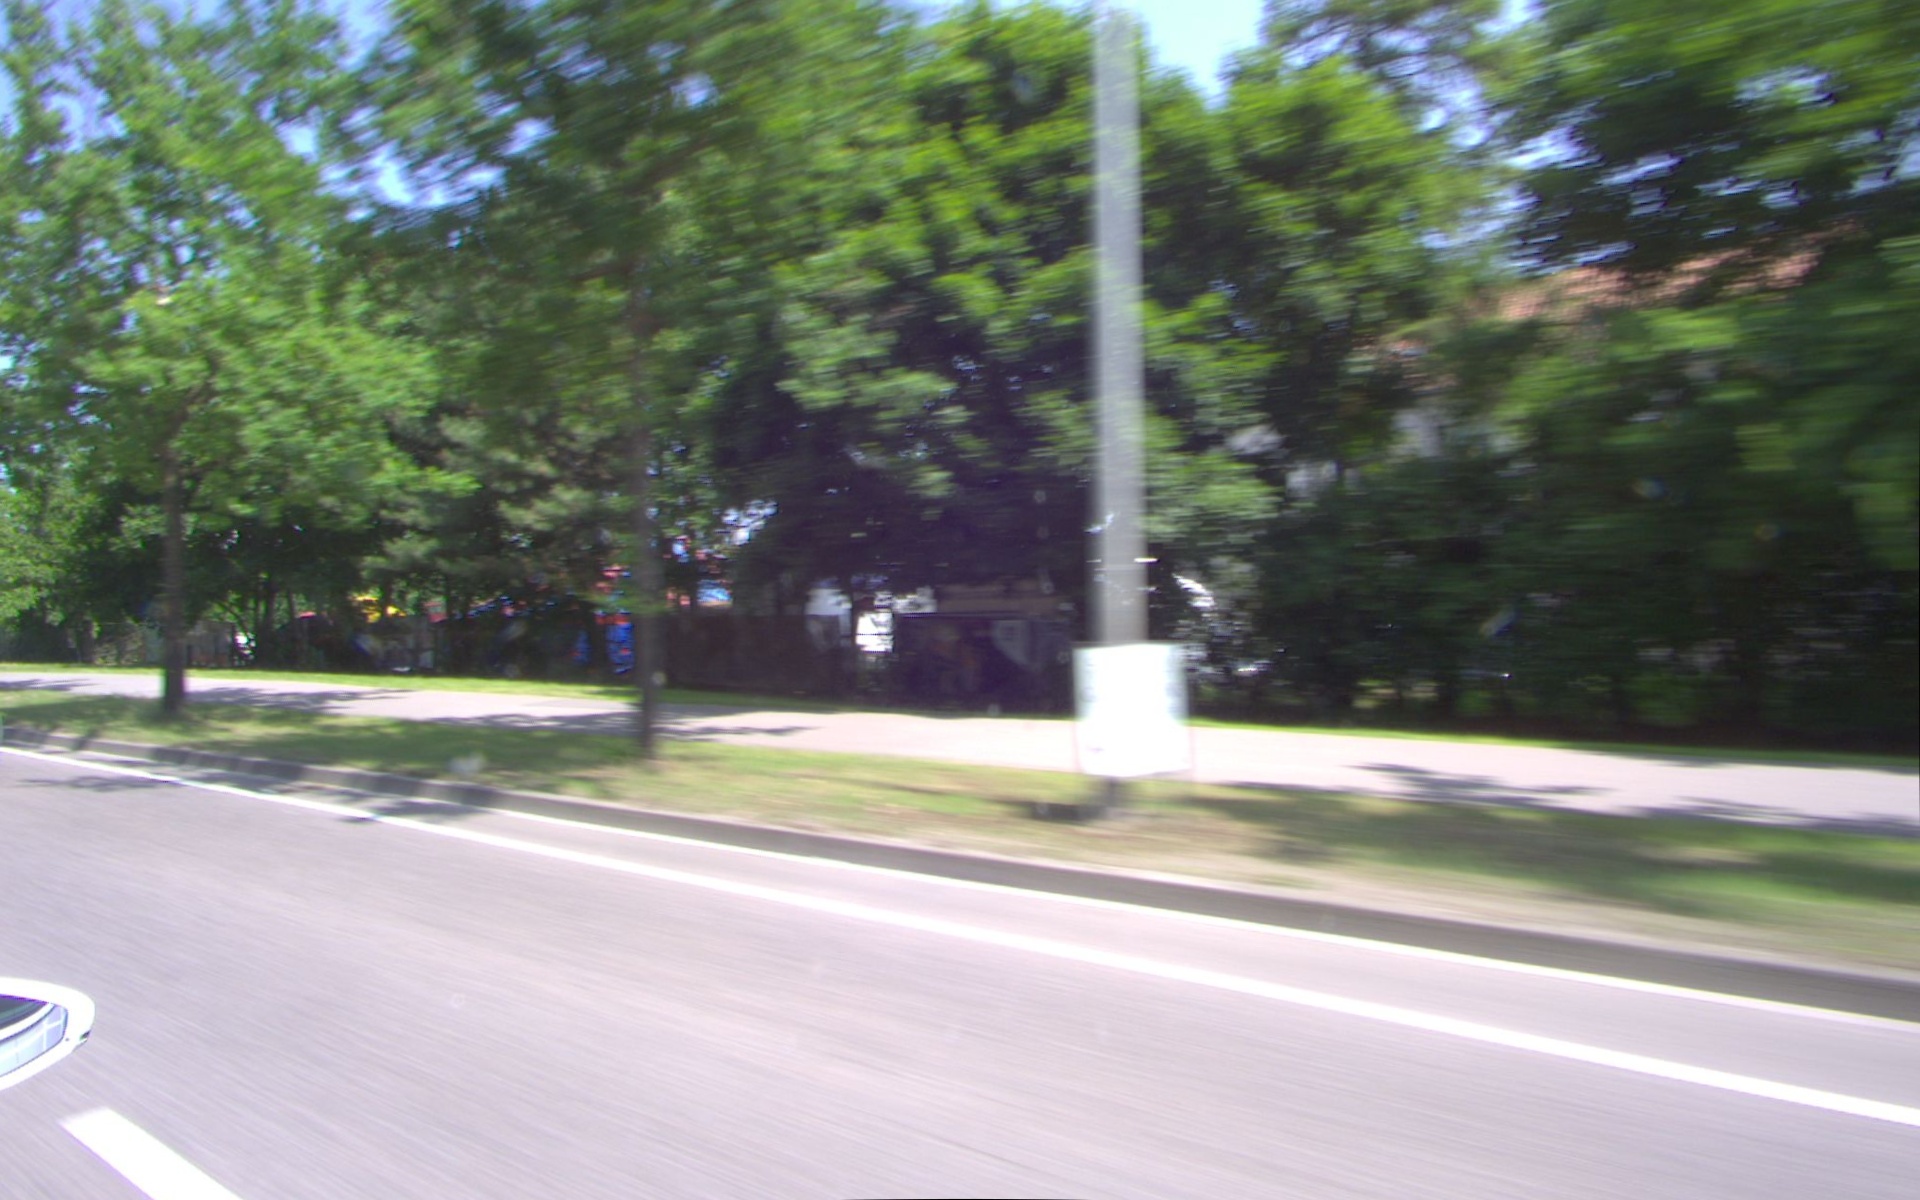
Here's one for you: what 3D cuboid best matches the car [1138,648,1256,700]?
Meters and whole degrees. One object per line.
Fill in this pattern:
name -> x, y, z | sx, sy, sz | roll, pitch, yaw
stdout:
car -> 5.934, 1.796, 24.927 | 3.161, 1.104, 1.323 | 0, -1, -43

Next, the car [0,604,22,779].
car -> -10.978, 0.863, 9.759 | 3.835, 1.632, 1.789 | -1, -1, 32
